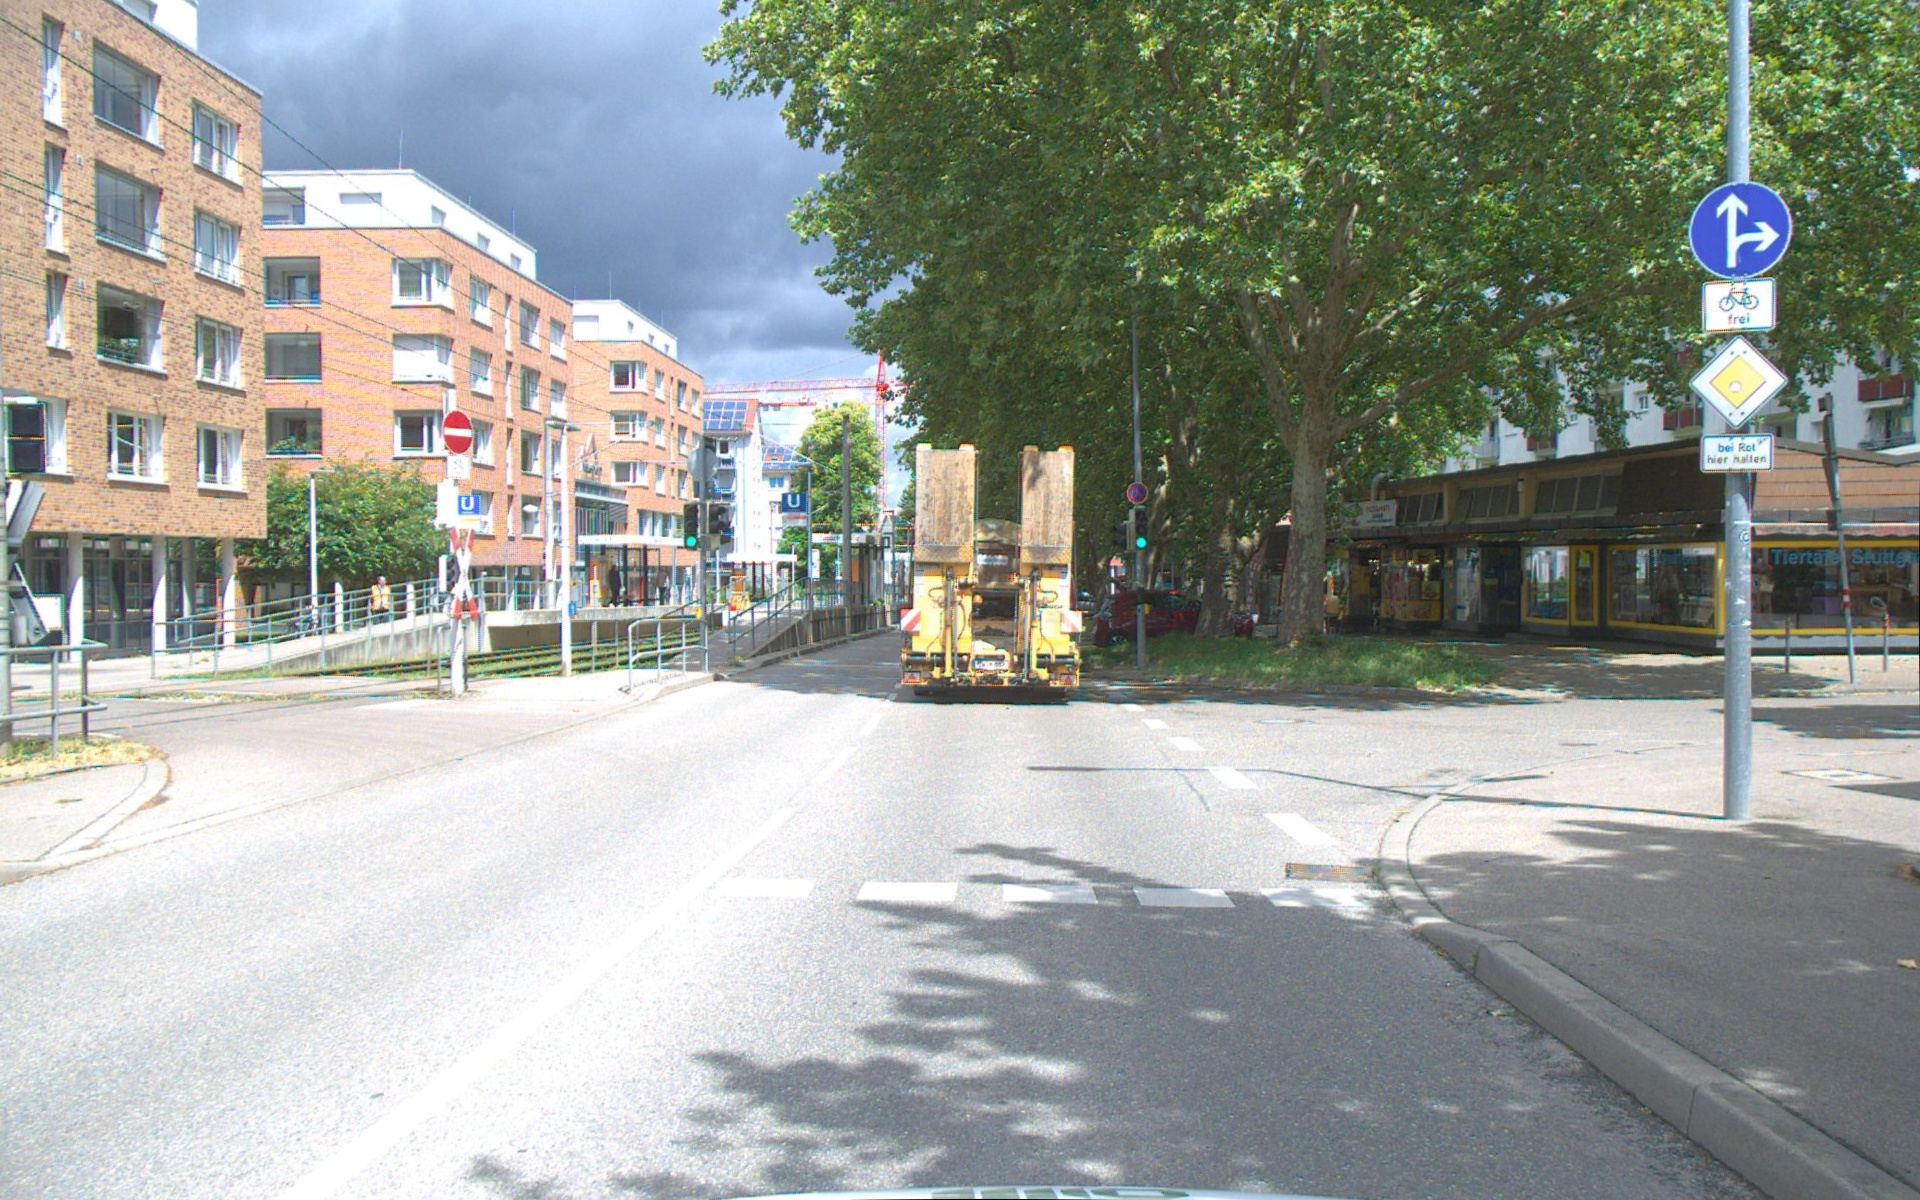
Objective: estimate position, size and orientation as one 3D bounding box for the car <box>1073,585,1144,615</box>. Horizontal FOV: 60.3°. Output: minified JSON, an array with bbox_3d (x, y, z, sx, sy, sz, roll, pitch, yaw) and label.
[{"bbox_3d":[8.462,-0.003,94.438,3.754,1.589,1.618,-1,0,-5],"label":"car"}]

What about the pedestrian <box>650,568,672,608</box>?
[{"bbox_3d":[-12.428,-0.504,68.755,0.735,1.657,0.816,1,0,2],"label":"pedestrian"}]

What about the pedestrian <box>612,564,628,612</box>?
[{"bbox_3d":[-12.792,-0.456,62.231,0.523,1.794,0.528,0,0,-1],"label":"pedestrian"}]

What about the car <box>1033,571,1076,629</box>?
[{"bbox_3d":[4.473,-0.004,79.030,1.865,2.626,6.835,-2,0,2],"label":"car"}]

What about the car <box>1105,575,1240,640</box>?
[{"bbox_3d":[5.725,0.199,44.726,3.339,1.541,1.609,-3,0,-2],"label":"car"}]

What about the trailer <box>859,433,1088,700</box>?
[{"bbox_3d":[0.366,-0.464,28.193,3.089,3.615,11.099,1,0,2],"label":"trailer"}]

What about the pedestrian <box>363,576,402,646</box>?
[{"bbox_3d":[-15.392,0.288,44.104,0.728,1.857,0.829,0,0,1],"label":"pedestrian"}]

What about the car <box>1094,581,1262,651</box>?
[{"bbox_3d":[5.268,0.381,40.350,3.944,1.639,1.732,0,0,4],"label":"car"}]

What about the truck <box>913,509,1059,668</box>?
[{"bbox_3d":[0.687,-0.240,37.693,2.927,3.190,7.890,1,0,2],"label":"truck"}]
